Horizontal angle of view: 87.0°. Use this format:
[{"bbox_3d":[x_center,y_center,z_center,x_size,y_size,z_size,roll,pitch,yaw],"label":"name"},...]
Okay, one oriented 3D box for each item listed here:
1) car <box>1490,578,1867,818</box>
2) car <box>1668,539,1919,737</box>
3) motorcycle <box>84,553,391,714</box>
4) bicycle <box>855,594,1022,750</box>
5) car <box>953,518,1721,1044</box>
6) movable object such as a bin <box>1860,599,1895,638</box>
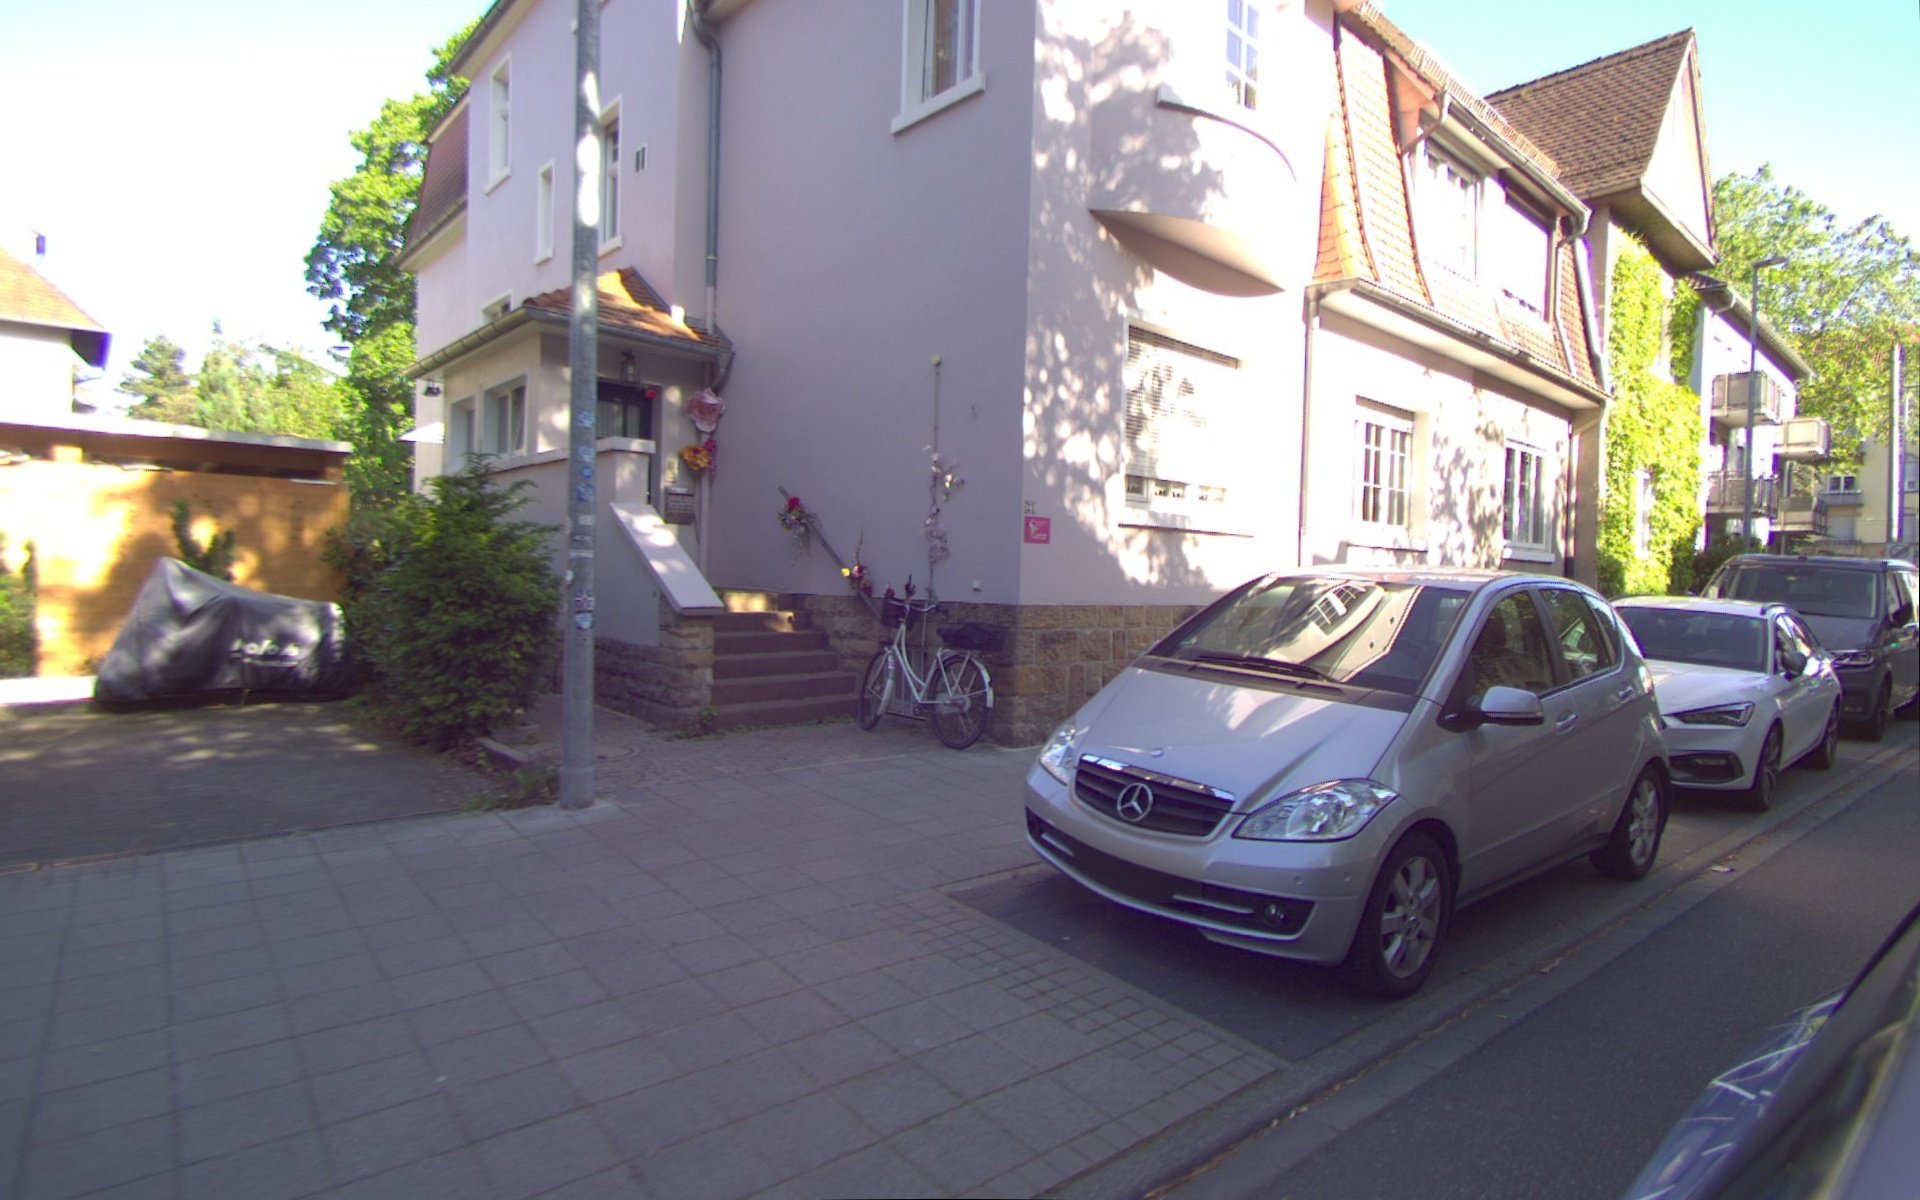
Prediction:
[{"bbox_3d":[6.199,0.602,8.509,4.363,1.475,1.681,0,2,-43],"label":"car"},{"bbox_3d":[10.509,0.336,12.291,4.697,1.939,1.870,0,4,-40],"label":"car"},{"bbox_3d":[-6.509,0.285,9.248,0.784,1.297,2.138,0,-1,37],"label":"motorcycle"},{"bbox_3d":[-0.220,0.529,8.279,0.389,1.114,1.639,0,2,-41],"label":"bicycle"},{"bbox_3d":[2.078,0.493,5.078,3.928,1.619,1.795,-1,5,-39],"label":"car"},{"bbox_3d":[26.729,0.530,29.475,0.695,1.056,0.598,0,5,-42],"label":"movable object such as a bin"}]
